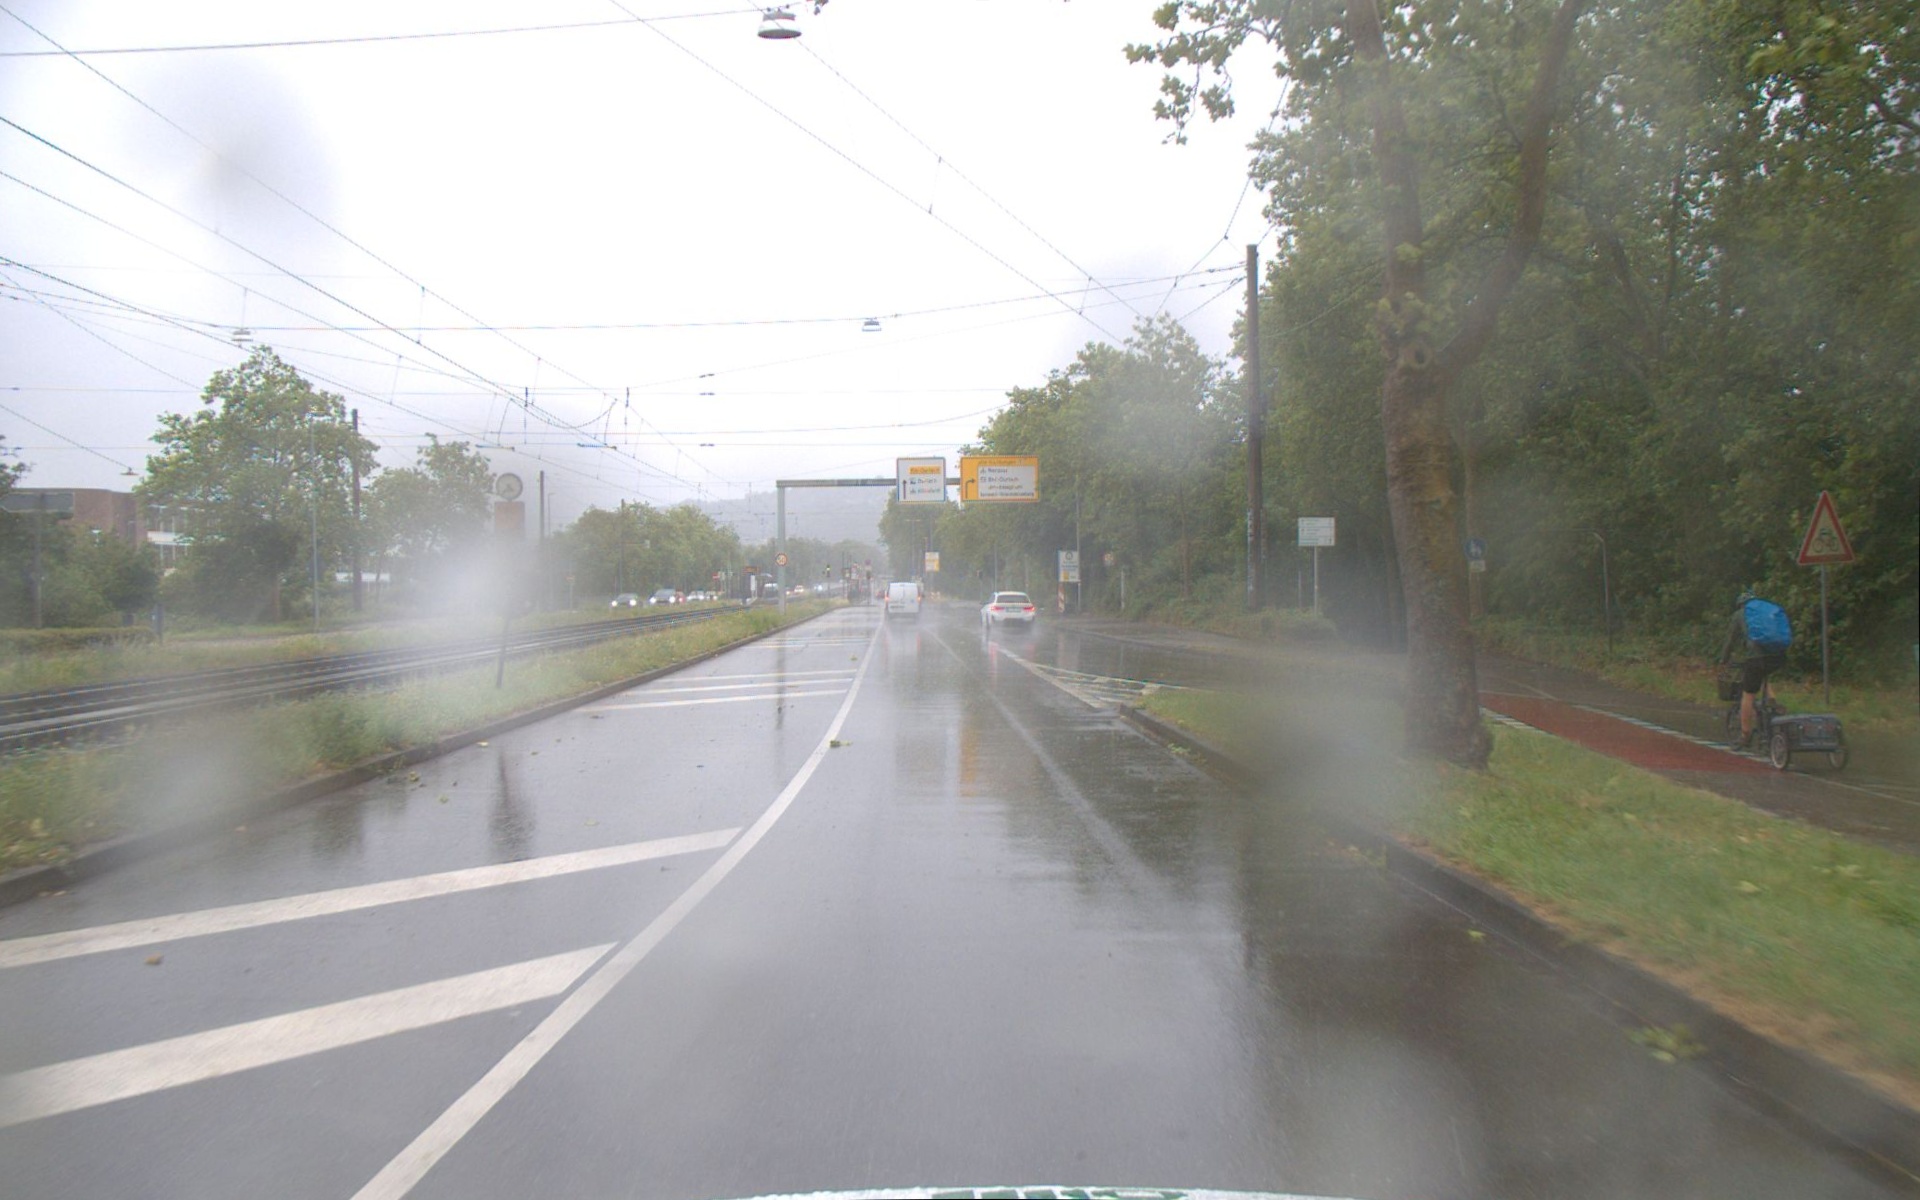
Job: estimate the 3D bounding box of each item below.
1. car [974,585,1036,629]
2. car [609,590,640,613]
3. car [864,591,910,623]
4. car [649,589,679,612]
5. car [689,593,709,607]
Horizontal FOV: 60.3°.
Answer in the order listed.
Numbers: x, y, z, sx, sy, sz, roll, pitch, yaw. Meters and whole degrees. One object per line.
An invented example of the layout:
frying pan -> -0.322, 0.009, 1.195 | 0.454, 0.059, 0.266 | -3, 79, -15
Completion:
car -> 1.631, 0.235, 61.346 | 1.909, 1.563, 4.463 | 0, 0, -3
car -> -26.126, 0.116, 128.911 | 1.905, 1.716, 4.775 | -1, 1, -6
car -> -3.368, 0.310, 76.357 | 2.036, 1.445, 3.998 | 0, 0, -2
car -> -22.811, 0.025, 127.474 | 1.906, 1.644, 4.982 | -1, 1, -6
car -> -28.104, -0.010, 178.330 | 1.686, 1.520, 3.997 | 0, 0, -3
